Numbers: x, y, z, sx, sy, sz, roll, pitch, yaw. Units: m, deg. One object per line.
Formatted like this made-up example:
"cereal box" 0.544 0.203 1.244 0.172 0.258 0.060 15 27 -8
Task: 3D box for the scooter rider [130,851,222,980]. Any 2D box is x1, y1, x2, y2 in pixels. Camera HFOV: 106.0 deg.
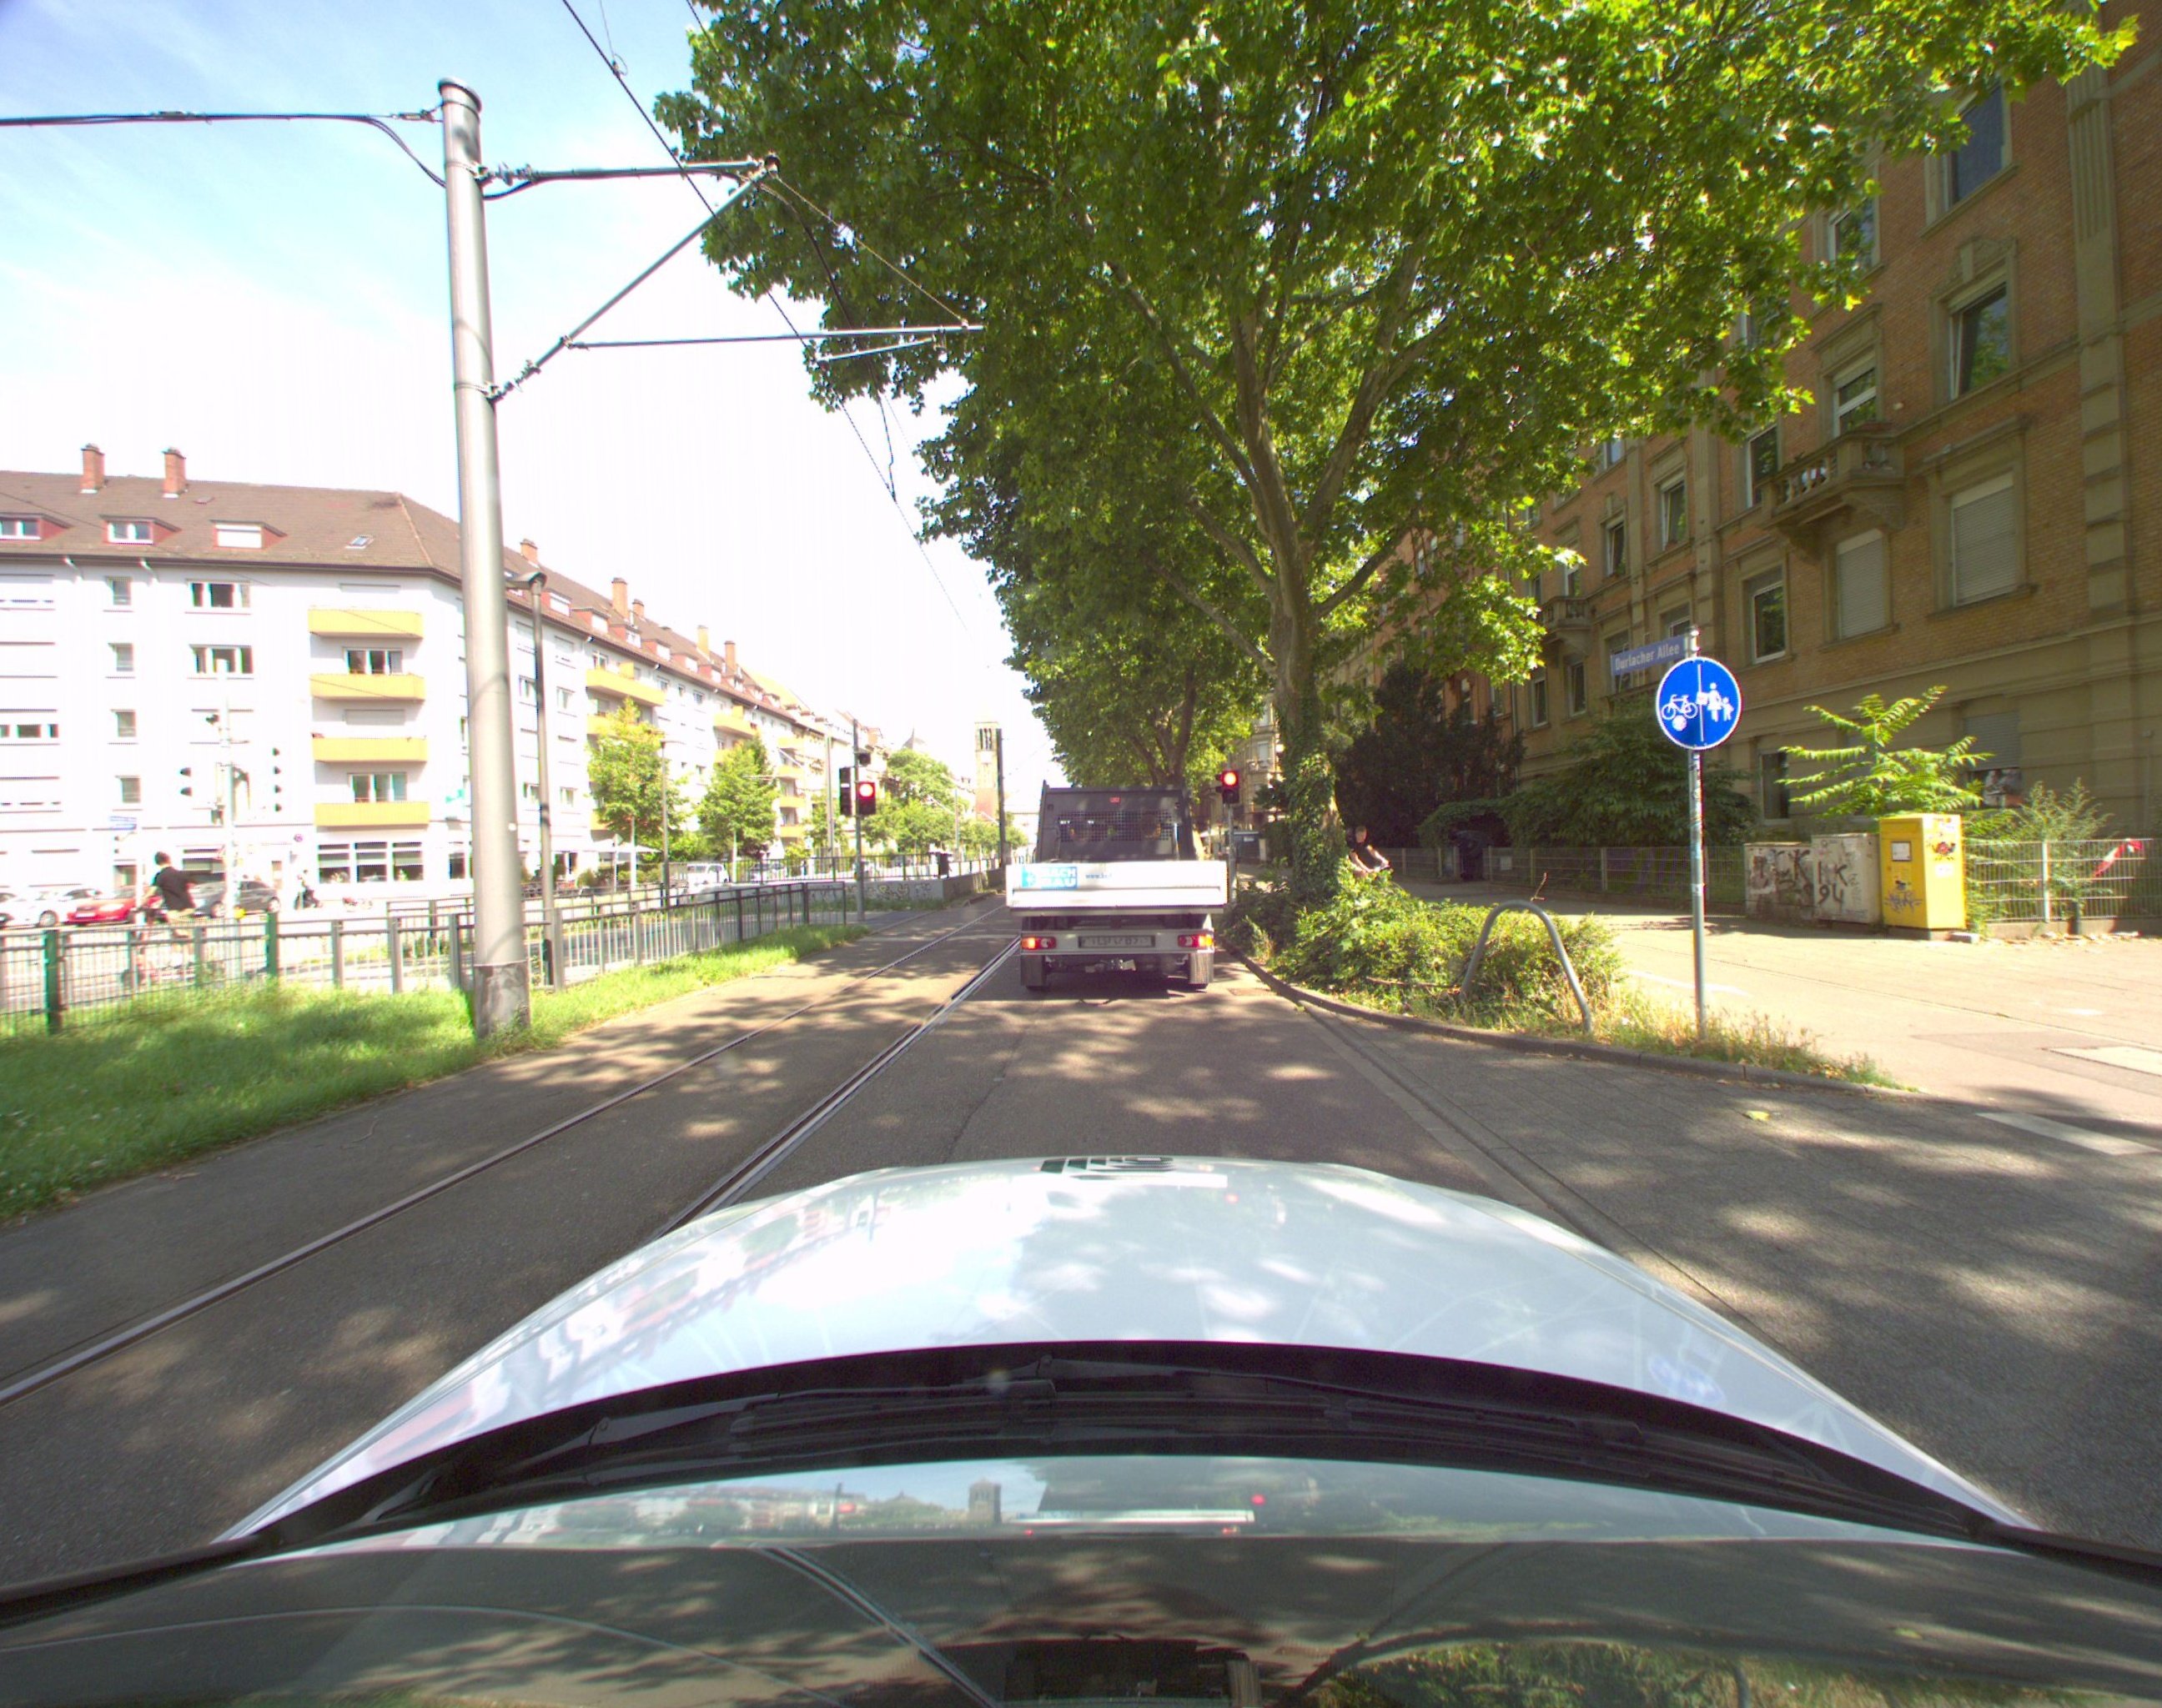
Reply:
"scooter rider" -13.650 0.908 12.293 0.656 1.867 0.672 -2 0 19

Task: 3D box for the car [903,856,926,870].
"car" -19.404 0.995 94.959 1.764 1.498 4.000 -2 0 0

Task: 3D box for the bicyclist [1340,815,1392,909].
"bicyclist" 5.059 0.139 14.491 0.689 1.623 0.626 -2 0 7

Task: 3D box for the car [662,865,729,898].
"car" -20.521 1.419 43.527 1.767 1.498 3.994 -4 0 -4

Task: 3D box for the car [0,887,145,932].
"car" -39.285 2.121 31.336 1.930 1.406 4.158 -2 0 -6

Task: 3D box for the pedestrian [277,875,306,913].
"pedestrian" -33.906 1.695 34.995 0.690 1.572 0.542 -2 0 -22

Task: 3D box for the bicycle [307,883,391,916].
"bicycle" -30.078 1.841 33.547 0.908 1.137 2.807 -2 0 -2

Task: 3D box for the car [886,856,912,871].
"car" -19.479 1.030 87.119 1.764 1.498 4.000 -2 0 0

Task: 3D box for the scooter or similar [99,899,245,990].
"scooter or similar" -13.654 1.331 12.272 0.650 1.204 1.277 -2 0 20

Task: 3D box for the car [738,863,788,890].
"car" -20.310 1.379 52.109 1.767 1.498 3.994 -4 0 -4

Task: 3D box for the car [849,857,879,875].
"car" -19.616 1.087 73.748 1.767 1.498 3.994 -2 0 -4

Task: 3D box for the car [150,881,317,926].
"car" -33.141 1.885 32.081 1.830 1.376 4.637 -2 0 -4

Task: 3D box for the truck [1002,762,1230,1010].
"truck" 0.430 0.284 9.846 2.130 2.319 4.404 0 0 3

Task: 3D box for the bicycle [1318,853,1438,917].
"bicycle" 5.248 0.540 14.465 1.909 1.049 0.534 -2 0 7

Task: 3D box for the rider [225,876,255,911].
"rider" -35.716 1.685 34.585 0.624 1.423 0.587 -2 0 -15

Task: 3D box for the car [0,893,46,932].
"car" -41.836 2.269 30.130 1.930 1.406 4.158 -2 0 -6

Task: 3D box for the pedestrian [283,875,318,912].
"pedestrian" -34.124 1.707 35.617 0.861 1.572 0.685 -2 0 -22

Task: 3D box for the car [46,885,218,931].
"car" -36.498 2.011 31.506 1.930 1.406 4.158 -2 0 -6
